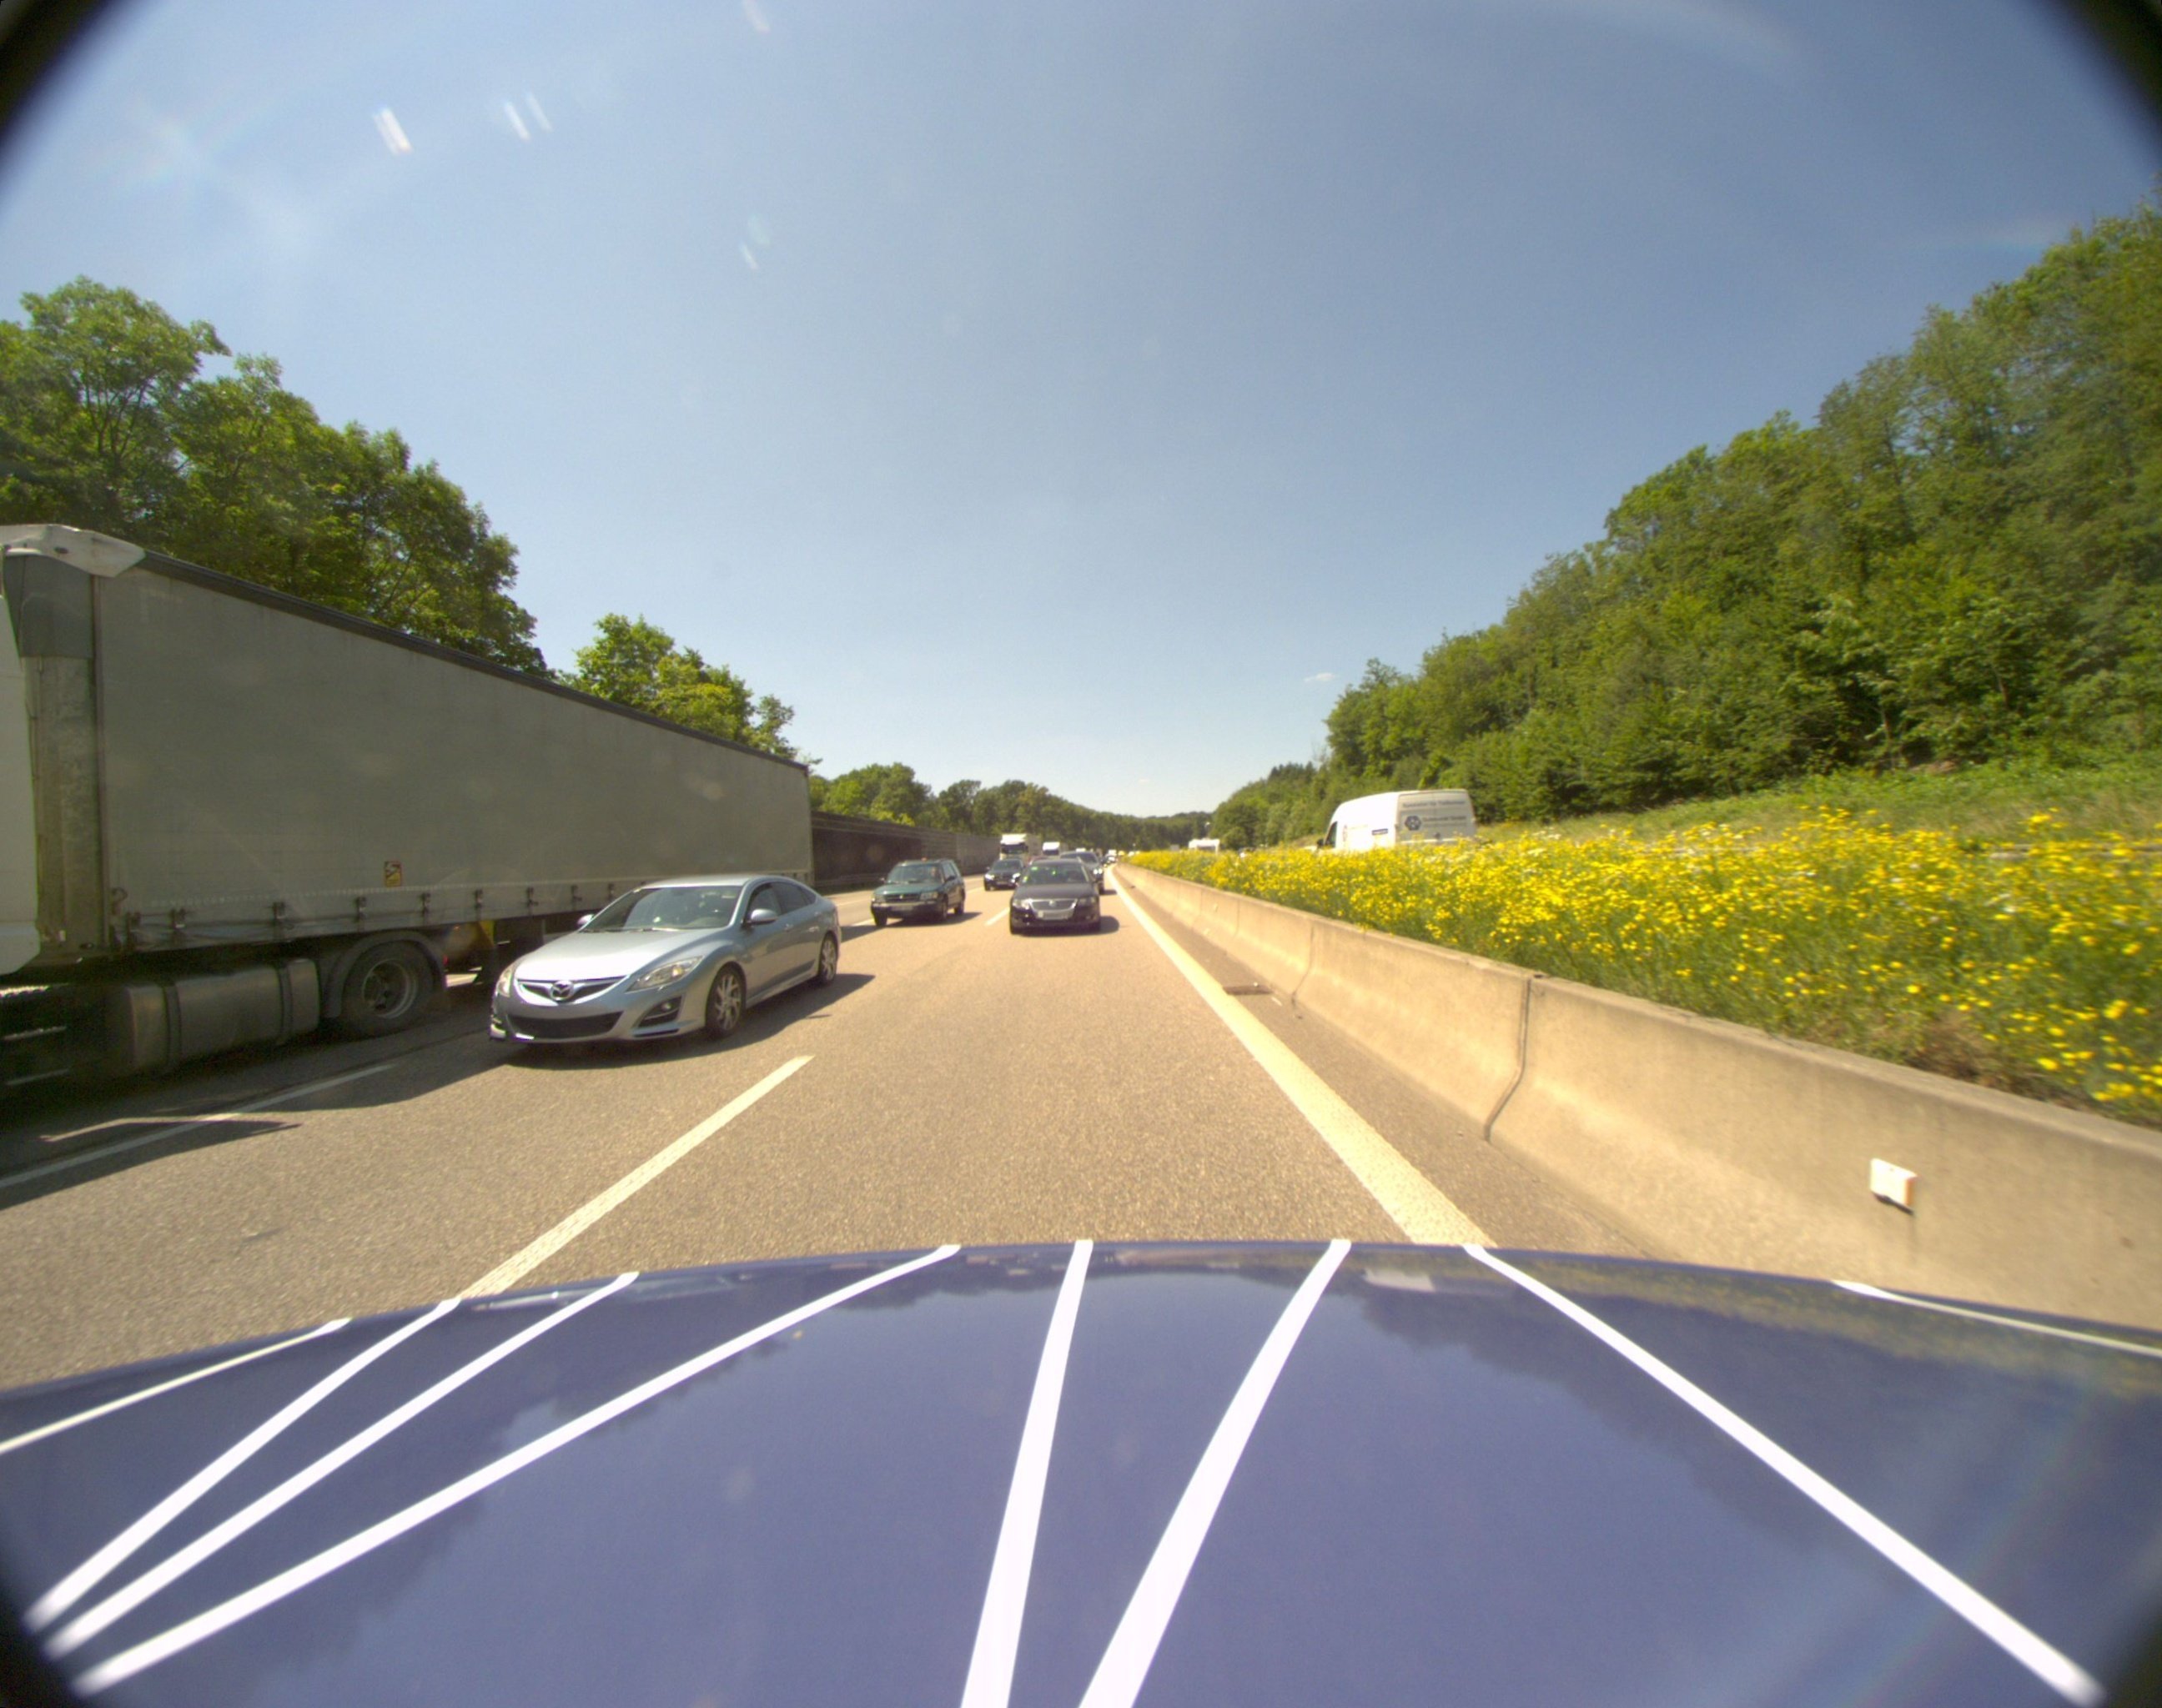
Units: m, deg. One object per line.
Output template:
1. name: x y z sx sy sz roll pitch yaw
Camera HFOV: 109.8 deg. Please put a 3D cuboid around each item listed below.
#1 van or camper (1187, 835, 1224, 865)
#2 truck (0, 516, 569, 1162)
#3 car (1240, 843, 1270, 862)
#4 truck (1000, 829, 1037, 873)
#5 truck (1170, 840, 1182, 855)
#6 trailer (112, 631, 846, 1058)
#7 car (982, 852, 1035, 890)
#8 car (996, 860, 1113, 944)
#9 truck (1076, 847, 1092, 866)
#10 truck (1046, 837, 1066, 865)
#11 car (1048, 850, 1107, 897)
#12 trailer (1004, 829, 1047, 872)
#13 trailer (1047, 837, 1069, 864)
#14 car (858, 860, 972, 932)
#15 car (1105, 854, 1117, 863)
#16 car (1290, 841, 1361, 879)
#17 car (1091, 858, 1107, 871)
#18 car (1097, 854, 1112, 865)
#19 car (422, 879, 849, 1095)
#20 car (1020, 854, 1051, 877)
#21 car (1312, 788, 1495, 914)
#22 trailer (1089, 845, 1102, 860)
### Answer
1. van or camper: 11.884 -0.358 73.168 2.314 2.620 7.399 -2 0 1
2. truck: -8.066 -0.075 7.056 2.605 4.066 5.552 -2 0 1
3. car: 15.971 -0.156 70.091 1.759 1.686 4.422 -2 0 1
4. truck: -6.204 -0.285 76.152 2.812 4.190 5.422 -3 0 3
5. truck: 27.694 -1.855 221.359 2.834 3.915 13.754 -3 0 9
6. trailer: -7.977 -0.114 14.222 2.604 4.066 13.591 -2 0 1
7. car: -3.512 0.795 37.407 1.998 1.641 4.000 -3 0 2
8. car: -0.415 0.903 15.919 1.907 1.410 4.001 -2 0 5
9. truck: 0.754 0.550 180.248 2.852 4.381 5.243 -3 0 9
10. truck: -3.925 -0.473 118.962 2.545 4.149 4.746 -3 0 3
11. car: -0.063 0.698 29.682 1.998 1.641 4.000 -2 0 3
12. trailer: -5.873 -0.324 82.942 2.821 4.190 13.468 -3 0 3
13. trailer: -3.650 -0.564 123.909 2.542 4.149 10.179 -3 0 3
14. car: -4.098 0.979 19.432 1.907 1.550 4.000 -3 0 1
15. car: 5.837 0.816 147.938 1.997 1.641 4.002 -3 0 7
16. car: 11.213 0.255 35.091 1.998 1.565 4.000 -2 0 1
17. car: 2.455 1.417 101.413 1.998 1.641 4.001 -3 0 3
18. car: 3.879 0.917 126.604 1.997 1.641 4.002 -3 0 7
19. car: -4.000 1.072 7.823 1.860 1.426 4.176 -3 0 0
20. car: -3.568 0.875 59.805 1.998 1.641 4.000 -3 0 1
21. car: 7.574 -0.080 18.681 1.998 2.526 5.908 -2 0 1
22. trailer: 4.331 -0.478 219.297 3.154 4.061 6.185 -3 0 5
